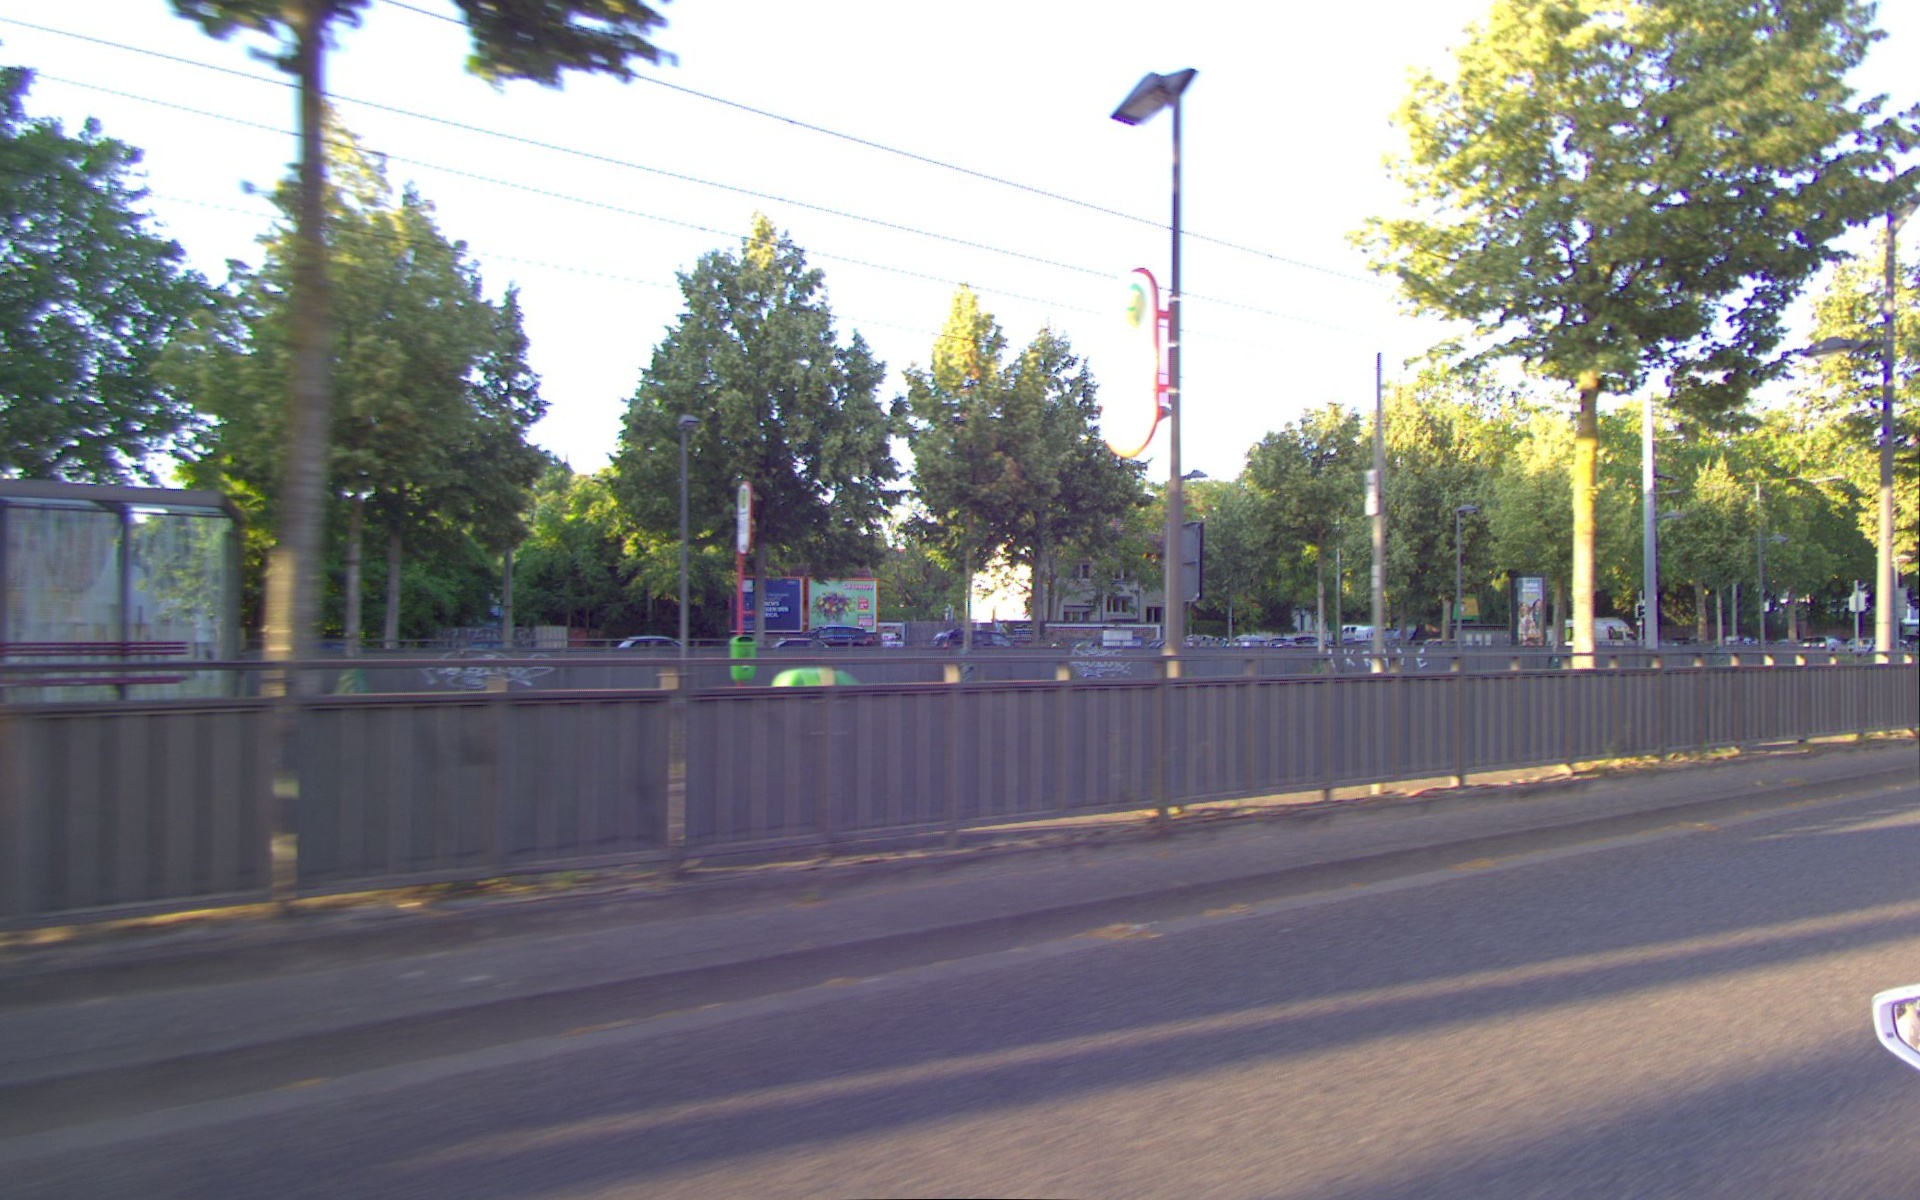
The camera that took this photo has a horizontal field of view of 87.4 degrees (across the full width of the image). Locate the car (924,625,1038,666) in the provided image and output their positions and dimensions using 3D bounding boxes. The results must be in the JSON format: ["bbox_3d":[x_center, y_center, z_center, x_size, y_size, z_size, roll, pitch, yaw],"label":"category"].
[{"bbox_3d":[0.864,1.836,41.067,4.244,1.606,1.985,1,-2,-29],"label":"car"}]

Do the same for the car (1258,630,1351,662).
[{"bbox_3d":[16.842,2.232,49.156,4.246,1.520,1.985,1,-2,-29],"label":"car"}]

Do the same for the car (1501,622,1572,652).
[{"bbox_3d":[40.824,2.594,71.120,4.992,2.040,1.987,1,-2,-27],"label":"car"}]

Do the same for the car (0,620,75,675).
[{"bbox_3d":[-28.637,1.374,29.184,3.946,1.550,1.988,1,-2,-25],"label":"car"}]

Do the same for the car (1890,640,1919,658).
[{"bbox_3d":[73.545,3.764,76.737,5.074,1.332,1.987,1,-2,-26],"label":"car"}]

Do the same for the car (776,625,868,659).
[{"bbox_3d":[-6.540,1.983,47.663,3.946,1.572,1.988,1,-2,-25],"label":"car"}]

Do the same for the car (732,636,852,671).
[{"bbox_3d":[-6.305,1.968,37.692,4.038,1.216,1.985,1,-2,-29],"label":"car"}]

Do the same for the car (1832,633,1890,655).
[{"bbox_3d":[65.474,3.175,72.968,4.254,1.519,1.892,1,-2,-29],"label":"car"}]

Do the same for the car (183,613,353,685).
[{"bbox_3d":[-20.692,1.423,30.251,3.948,2.040,1.987,1,-2,-27],"label":"car"}]

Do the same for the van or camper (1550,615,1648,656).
[{"bbox_3d":[38.132,2.104,59.898,5.704,2.396,2.277,1,-2,-25],"label":"van or camper"}]

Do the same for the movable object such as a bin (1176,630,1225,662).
[{"bbox_3d":[10.897,2.080,45.508,1.680,1.430,1.403,1,-2,-28],"label":"movable object such as a bin"}]

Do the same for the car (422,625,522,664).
[{"bbox_3d":[-20.042,1.804,41.279,3.598,1.520,1.817,1,-1,-28],"label":"car"}]

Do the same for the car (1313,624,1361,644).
[{"bbox_3d":[33.637,3.008,89.609,3.953,1.773,1.984,1,-2,-30],"label":"car"}]

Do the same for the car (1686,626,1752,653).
[{"bbox_3d":[48.991,2.532,64.825,3.952,1.661,1.985,1,-2,-29],"label":"car"}]

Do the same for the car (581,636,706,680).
[{"bbox_3d":[-11.164,2.015,35.409,3.949,1.426,1.986,1,-2,-28],"label":"car"}]

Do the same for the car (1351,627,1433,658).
[{"bbox_3d":[22.215,2.169,51.685,4.003,1.551,1.802,1,-2,-29],"label":"car"}]

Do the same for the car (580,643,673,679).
[{"bbox_3d":[-14.511,2.612,43.699,3.614,1.467,1.712,1,-2,-29],"label":"car"}]

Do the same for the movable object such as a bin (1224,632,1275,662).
[{"bbox_3d":[13.480,2.171,46.758,1.703,1.390,1.546,1,-2,-28],"label":"movable object such as a bin"}]

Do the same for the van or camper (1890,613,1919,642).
[{"bbox_3d":[92.596,2.723,97.489,5.433,2.771,2.074,1,-2,-32],"label":"van or camper"}]

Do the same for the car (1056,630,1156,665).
[{"bbox_3d":[6.360,2.030,43.671,3.950,1.467,1.985,1,-2,-29],"label":"car"}]

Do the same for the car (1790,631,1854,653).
[{"bbox_3d":[60.383,2.938,70.316,4.502,1.518,1.985,1,-2,-29],"label":"car"}]
